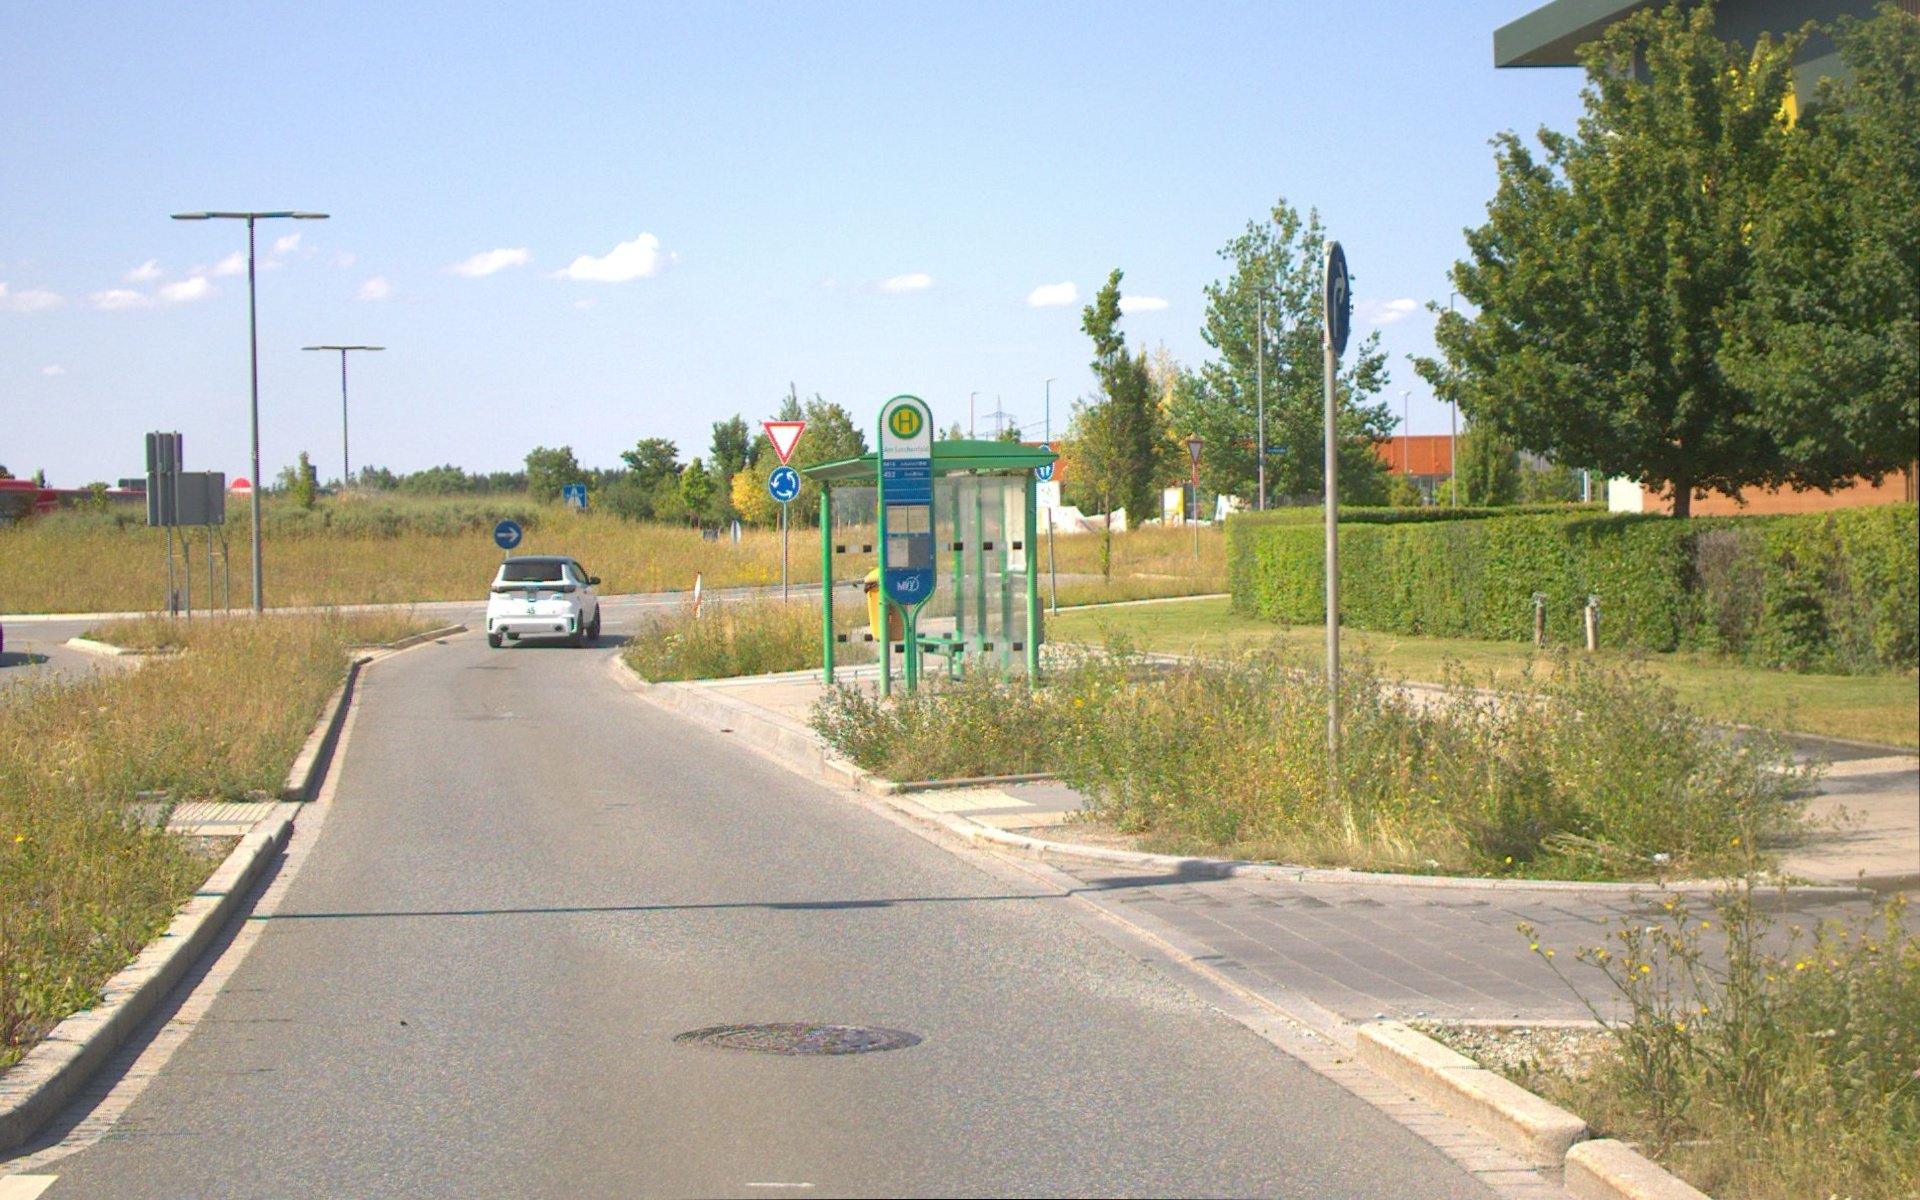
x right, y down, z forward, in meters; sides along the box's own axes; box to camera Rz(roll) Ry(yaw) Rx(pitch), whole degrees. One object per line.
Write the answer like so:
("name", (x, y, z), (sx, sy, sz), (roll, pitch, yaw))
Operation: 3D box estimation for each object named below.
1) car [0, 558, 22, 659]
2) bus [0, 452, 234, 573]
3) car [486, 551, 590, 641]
("car", (-15.841, 0.160, 54.407), (1.758, 1.538, 4.242), (-3, 1, -16))
("bus", (-25.185, -2.527, 97.466), (2.790, 3.068, 12.192), (-1, 3, 20))
("car", (-7.008, -0.094, 57.393), (1.616, 1.429, 3.793), (-1, 1, -6))
